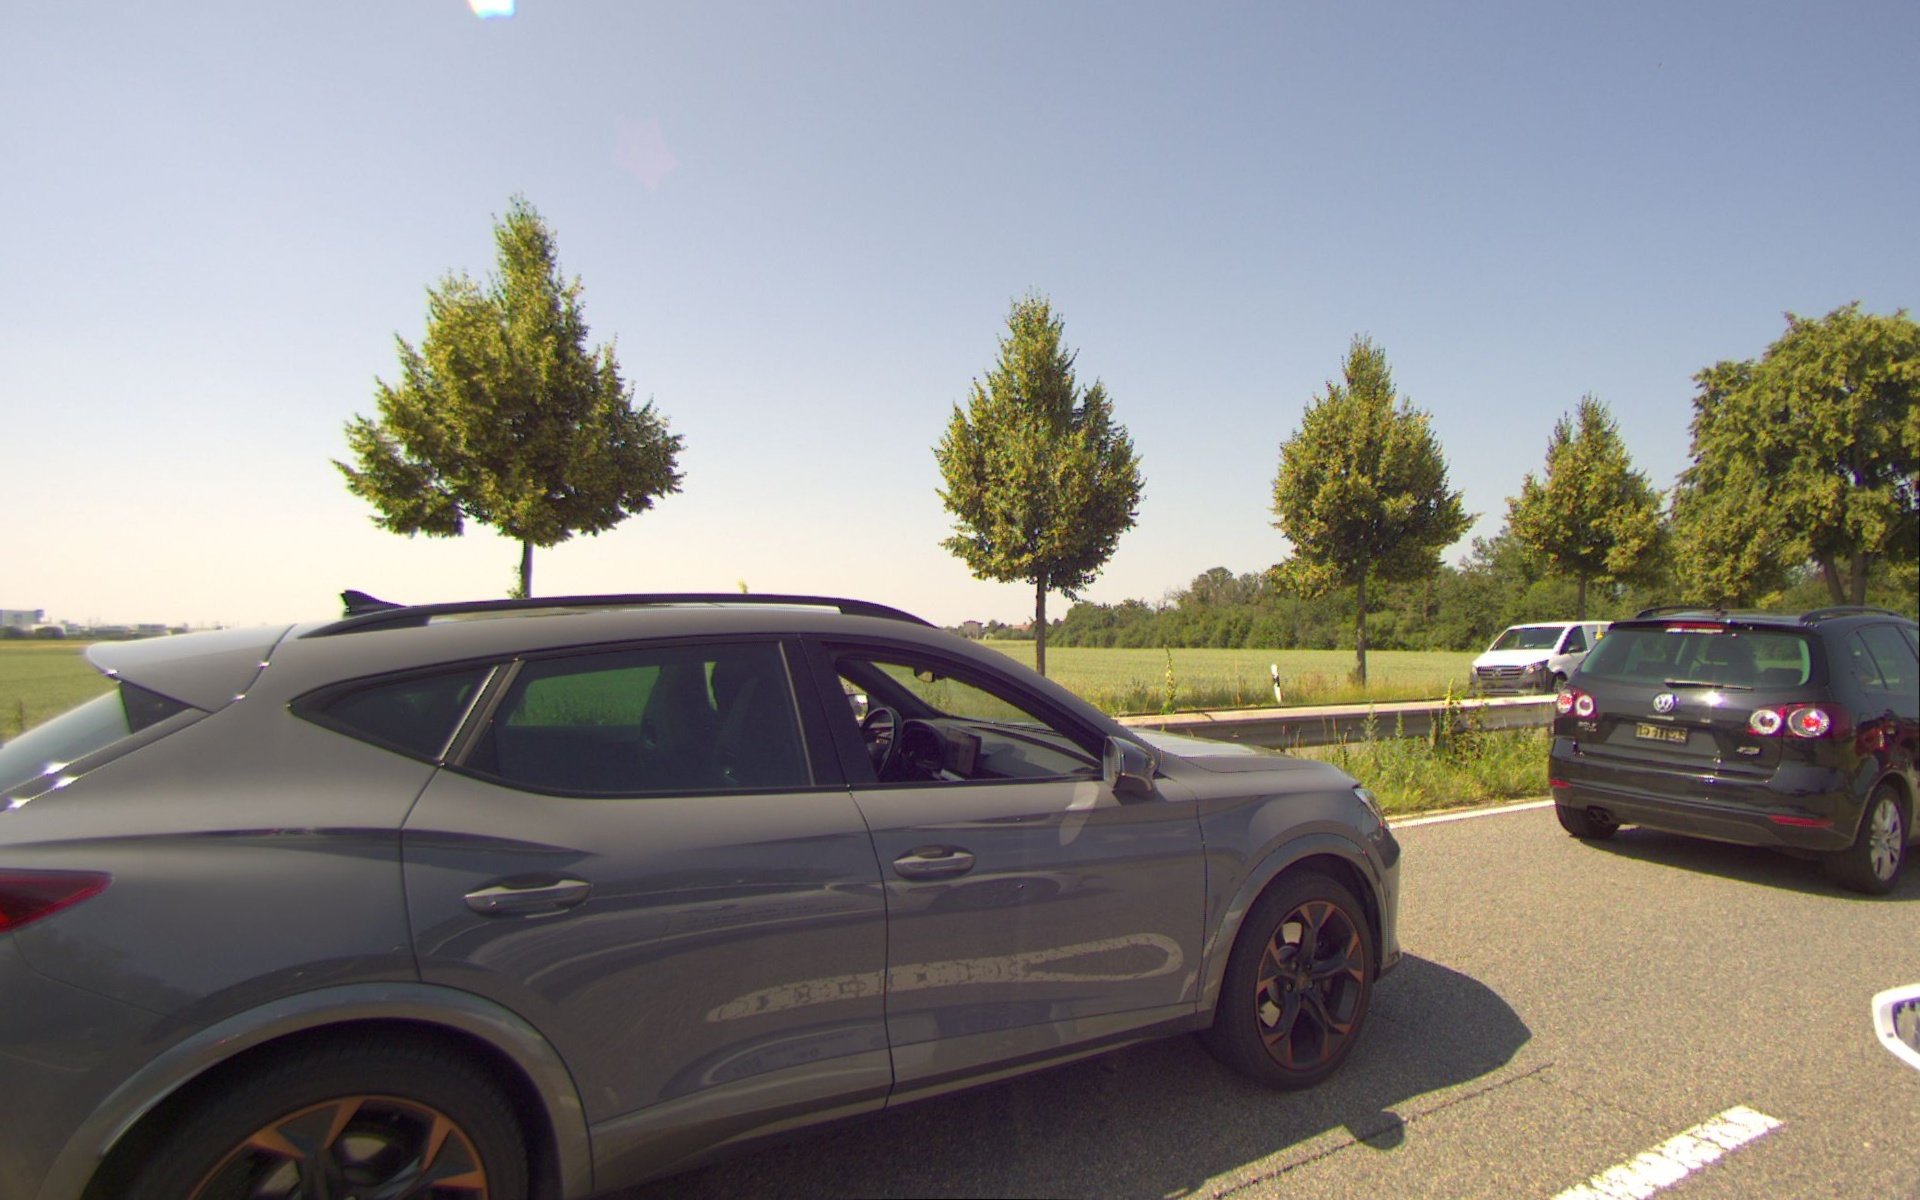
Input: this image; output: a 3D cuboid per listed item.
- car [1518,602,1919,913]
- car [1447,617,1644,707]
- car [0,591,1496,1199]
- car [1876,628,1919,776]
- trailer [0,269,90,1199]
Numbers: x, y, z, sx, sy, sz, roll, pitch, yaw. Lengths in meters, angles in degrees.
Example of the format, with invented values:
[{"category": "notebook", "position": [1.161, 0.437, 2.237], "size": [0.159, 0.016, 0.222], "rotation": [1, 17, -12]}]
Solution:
[{"category": "car", "position": [5.794, 0.844, 6.885], "size": [3.846, 1.597, 1.715], "rotation": [1, 0, -30]}, {"category": "car", "position": [14.056, 1.410, 24.060], "size": [4.959, 1.956, 1.983], "rotation": [1, -2, -32]}, {"category": "car", "position": [-0.388, 0.777, 3.208], "size": [4.312, 1.523, 1.737], "rotation": [1, -1, -31]}, {"category": "car", "position": [11.482, 1.042, 10.512], "size": [3.908, 1.461, 1.694], "rotation": [1, 0, -30]}, {"category": "trailer", "position": [-3.865, 0.352, 1.118], "size": [4.126, 2.202, 1.493], "rotation": [1, -1, -31]}]
